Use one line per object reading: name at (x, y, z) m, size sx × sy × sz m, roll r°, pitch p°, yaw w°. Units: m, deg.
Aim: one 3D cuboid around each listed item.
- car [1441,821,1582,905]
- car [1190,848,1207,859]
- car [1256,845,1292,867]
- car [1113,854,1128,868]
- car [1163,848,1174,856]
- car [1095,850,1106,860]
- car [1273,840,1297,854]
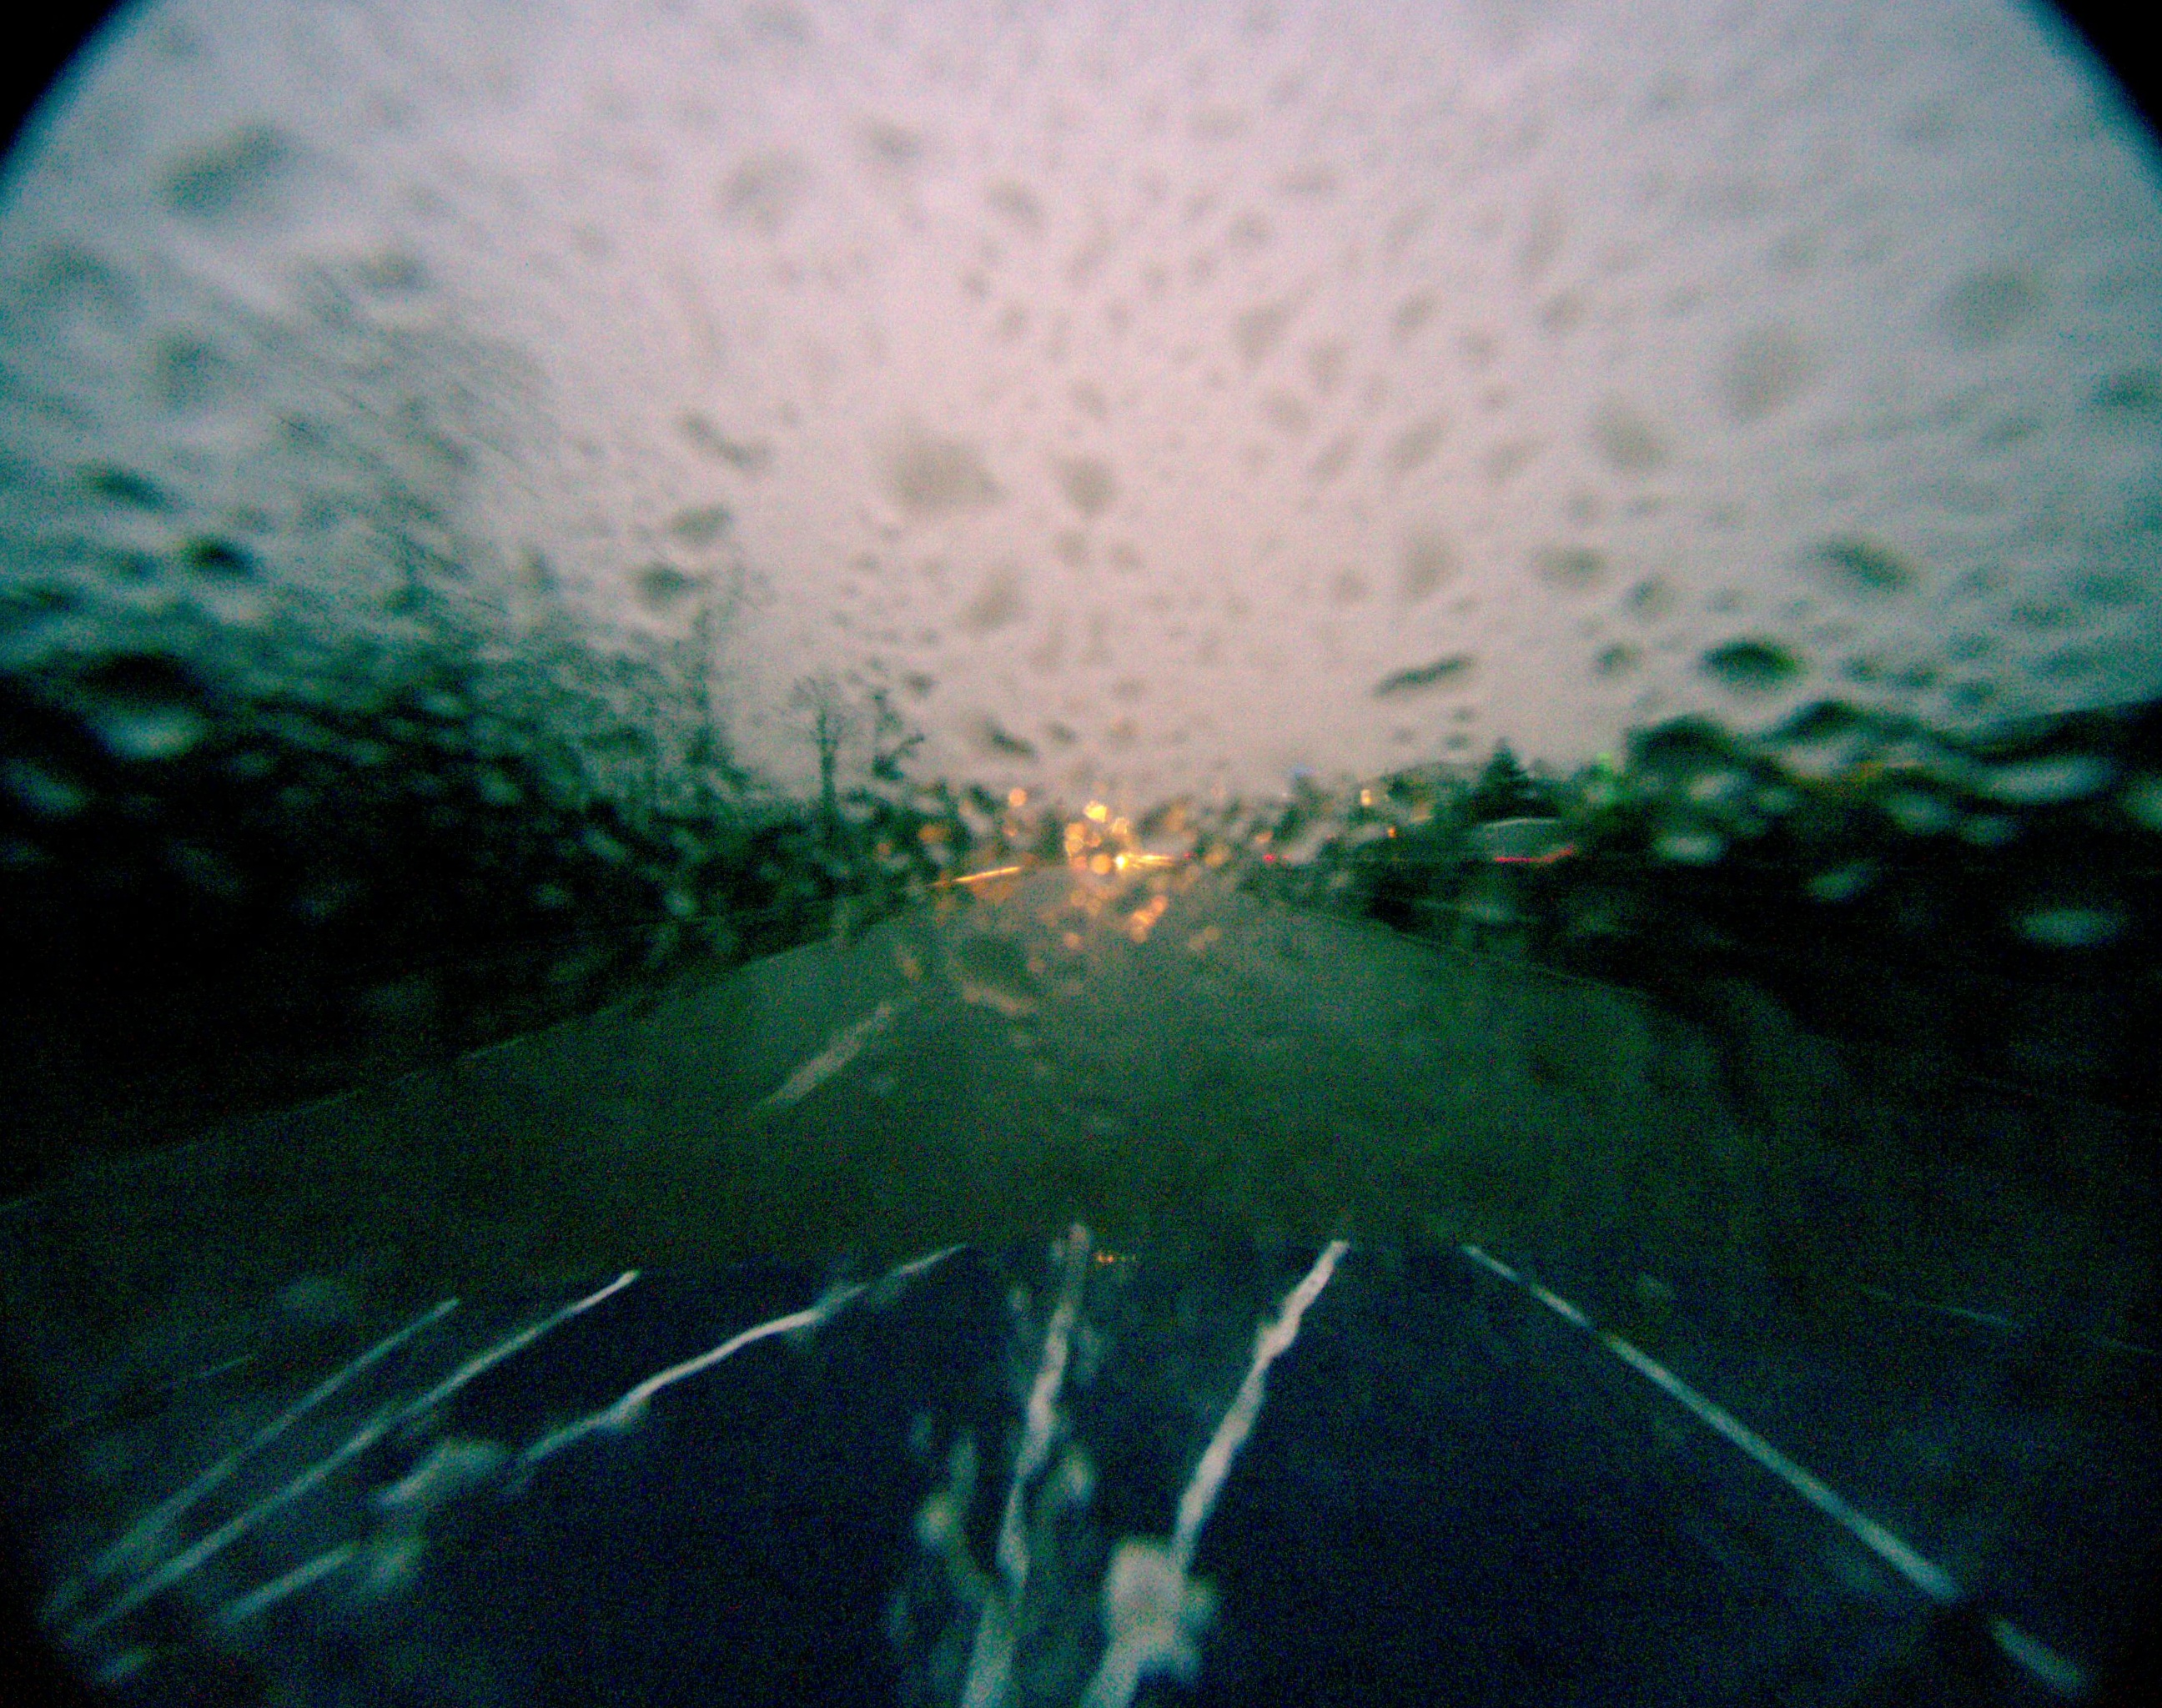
car at (13.883, 0.167, 24.884) m, size 1.932 × 2.284 × 4.885 m, roll -3°, pitch 4°, yaw 2°
car at (16.597, -0.120, 107.642) m, size 1.741 × 1.499 × 4.000 m, roll -3°, pitch 1°, yaw 2°
car at (14.723, 0.115, 58.121) m, size 1.741 × 1.499 × 4.000 m, roll -3°, pitch 1°, yaw 2°
car at (6.257, 1.165, 121.942) m, size 1.999 × 2.002 × 4.000 m, roll -5°, pitch 0°, yaw -1°
car at (17.169, -0.442, 149.087) m, size 1.741 × 1.499 × 4.000 m, roll -3°, pitch 1°, yaw 2°
car at (3.014, 0.195, 117.192) m, size 1.682 × 1.402 × 3.775 m, roll -3°, pitch 1°, yaw 3°
car at (30.943, -1.063, 115.398) m, size 2.160 × 2.002 × 4.960 m, roll -3°, pitch 0°, yaw 0°
